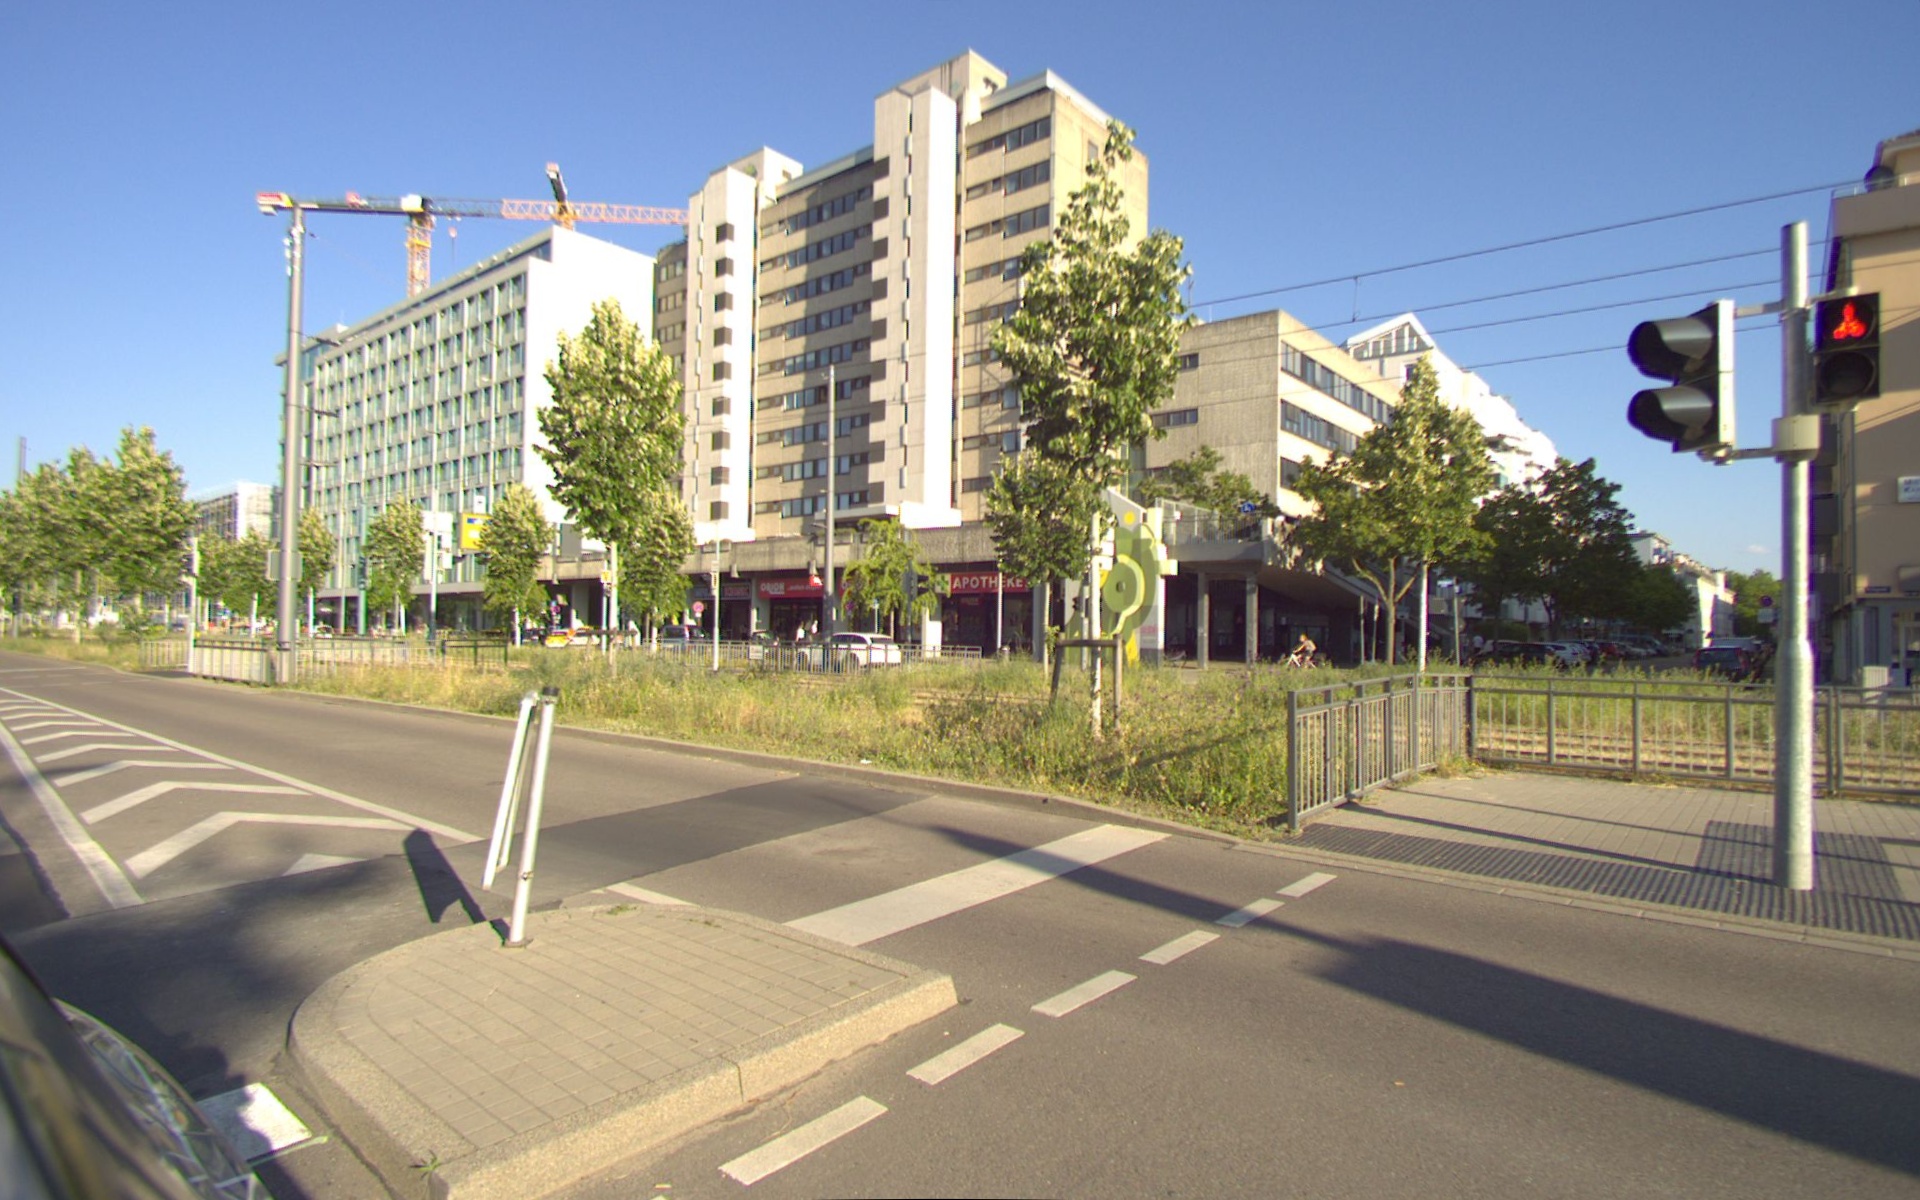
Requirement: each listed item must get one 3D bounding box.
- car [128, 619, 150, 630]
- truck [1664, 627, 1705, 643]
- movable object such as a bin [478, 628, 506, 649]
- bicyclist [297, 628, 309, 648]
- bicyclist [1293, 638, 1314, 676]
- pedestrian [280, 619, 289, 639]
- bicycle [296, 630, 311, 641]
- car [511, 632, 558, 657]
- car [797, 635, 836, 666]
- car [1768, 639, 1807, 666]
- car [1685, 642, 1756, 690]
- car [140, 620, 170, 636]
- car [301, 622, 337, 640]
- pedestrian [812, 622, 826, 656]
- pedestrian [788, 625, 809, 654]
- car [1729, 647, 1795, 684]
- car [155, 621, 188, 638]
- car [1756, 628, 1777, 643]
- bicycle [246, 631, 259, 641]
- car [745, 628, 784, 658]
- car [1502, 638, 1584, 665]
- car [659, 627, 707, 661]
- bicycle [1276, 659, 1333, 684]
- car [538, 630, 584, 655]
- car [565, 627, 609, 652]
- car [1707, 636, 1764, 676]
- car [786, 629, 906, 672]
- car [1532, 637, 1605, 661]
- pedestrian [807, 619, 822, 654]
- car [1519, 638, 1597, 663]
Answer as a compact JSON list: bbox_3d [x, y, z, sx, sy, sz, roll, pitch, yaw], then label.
[{"bbox_3d":[-110.644,3.313,136.397,3.877,1.388,1.593,0,0,40],"label":"car"},{"bbox_3d":[99.047,4.753,138.375,4.610,2.185,1.799,-1,-2,37],"label":"truck"},{"bbox_3d":[-32.535,2.669,70.317,1.170,1.382,1.372,-1,-3,39],"label":"movable object such as a bin"},{"bbox_3d":[-56.861,3.272,87.557,0.918,1.758,0.552,-1,-3,38],"label":"bicyclist"},{"bbox_3d":[12.937,2.131,38.163,0.710,1.405,0.733,0,-2,15],"label":"bicyclist"},{"bbox_3d":[-69.909,3.019,104.738,0.725,2.029,0.614,-1,-3,40],"label":"pedestrian"},{"bbox_3d":[-56.922,3.089,87.691,2.100,0.869,0.432,-1,-3,39],"label":"bicycle"},{"bbox_3d":[-28.320,2.919,67.471,1.596,1.455,4.553,0,0,-5],"label":"car"},{"bbox_3d":[-6.823,2.385,48.416,1.597,1.283,3.469,0,0,-4],"label":"car"},{"bbox_3d":[51.669,3.245,63.226,1.820,1.618,3.834,-1,-2,40],"label":"car"},{"bbox_3d":[26.623,2.256,35.375,1.845,1.508,3.947,-1,-2,39],"label":"car"},{"bbox_3d":[-92.791,3.160,116.629,4.485,1.715,1.851,0,0,40],"label":"car"},{"bbox_3d":[-58.418,2.805,92.213,3.387,1.477,1.851,0,0,40],"label":"car"},{"bbox_3d":[-8.510,2.332,60.990,0.654,2.029,0.542,-1,-2,40],"label":"pedestrian"},{"bbox_3d":[-9.304,2.269,58.225,0.881,1.652,0.767,-1,-2,39],"label":"pedestrian"},{"bbox_3d":[32.566,2.618,41.061,1.998,1.313,3.947,-1,-2,40],"label":"car"},{"bbox_3d":[-83.282,3.104,106.858,4.636,1.600,1.851,0,0,40],"label":"car"},{"bbox_3d":[90.094,3.928,113.047,1.820,1.618,3.834,-1,-2,40],"label":"car"},{"bbox_3d":[-68.065,3.462,97.333,2.100,0.869,0.432,-1,-3,39],"label":"bicycle"},{"bbox_3d":[-10.221,2.255,53.112,1.597,1.413,3.469,0,0,-4],"label":"car"},{"bbox_3d":[34.930,3.059,60.664,3.998,1.524,1.973,-1,-2,41],"label":"car"},{"bbox_3d":[-15.543,2.443,56.992,1.598,1.703,4.197,0,0,-1],"label":"car"},{"bbox_3d":[13.000,2.687,38.211,2.013,0.898,0.504,0,-2,17],"label":"bicycle"},{"bbox_3d":[-25.624,2.716,65.151,1.762,1.455,3.806,0,0,-5],"label":"car"},{"bbox_3d":[-23.285,2.444,63.306,1.597,1.455,3.796,0,0,-4],"label":"car"},{"bbox_3d":[37.030,2.633,48.315,1.998,1.756,3.947,-1,-2,40],"label":"car"},{"bbox_3d":[-4.358,1.860,38.205,4.657,1.474,1.758,-1,-2,39],"label":"car"},{"bbox_3d":[41.185,3.322,68.516,3.998,1.524,1.973,-1,-2,41],"label":"car"},{"bbox_3d":[-8.521,2.149,59.076,0.654,2.029,0.542,-1,-2,40],"label":"pedestrian"},{"bbox_3d":[38.190,3.199,64.652,3.998,1.524,1.973,-1,-2,41],"label":"car"}]
